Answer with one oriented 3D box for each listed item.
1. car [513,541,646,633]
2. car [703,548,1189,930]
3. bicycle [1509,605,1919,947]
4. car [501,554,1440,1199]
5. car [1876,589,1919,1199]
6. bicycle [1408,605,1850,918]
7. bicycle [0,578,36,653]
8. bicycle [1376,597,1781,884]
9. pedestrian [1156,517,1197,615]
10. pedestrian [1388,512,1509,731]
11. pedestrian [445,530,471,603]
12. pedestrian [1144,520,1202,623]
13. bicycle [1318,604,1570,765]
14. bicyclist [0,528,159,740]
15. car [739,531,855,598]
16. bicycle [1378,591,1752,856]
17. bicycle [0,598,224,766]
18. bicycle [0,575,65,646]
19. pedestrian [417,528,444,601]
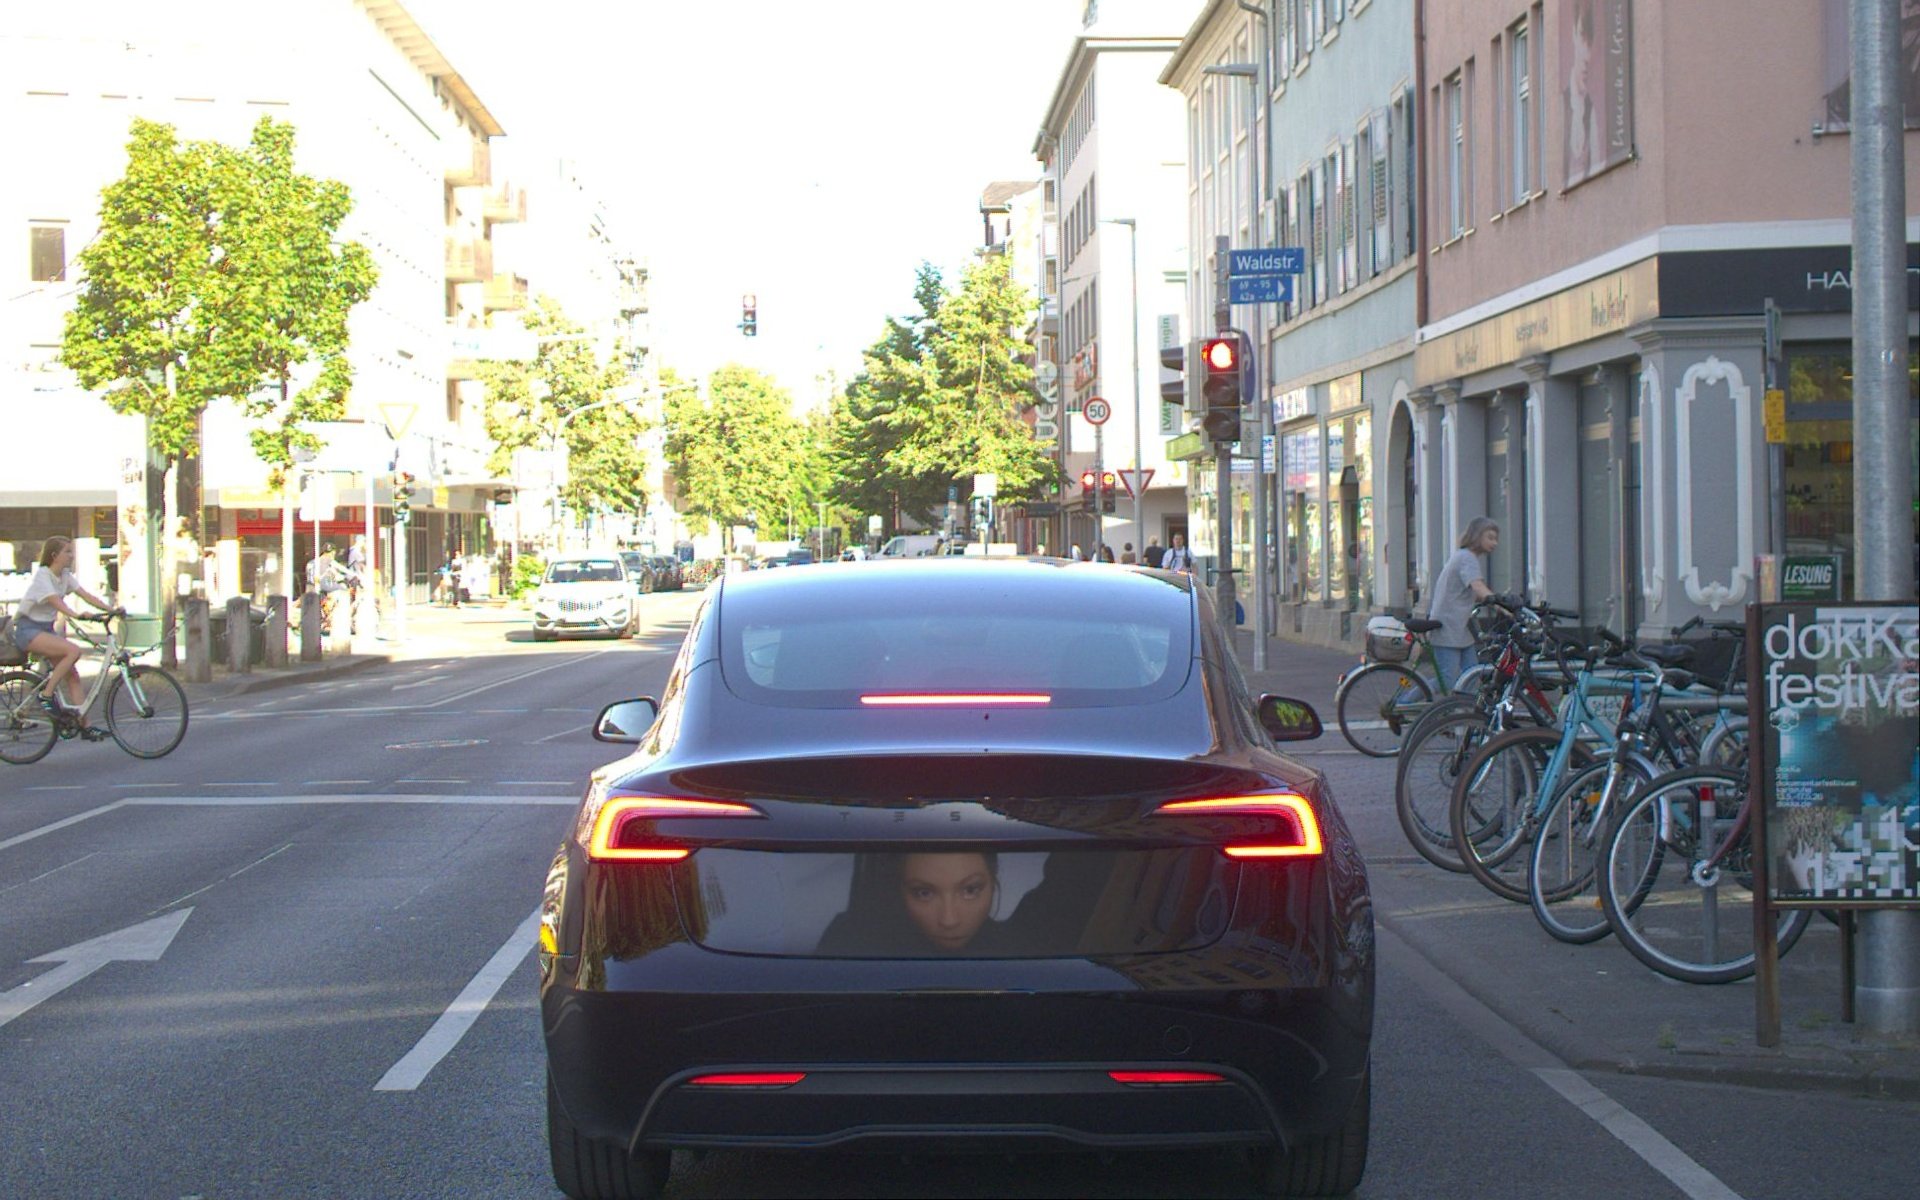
[{"bbox_3d":[-7.080,-0.268,64.291,1.993,1.535,4.000,-4,1,-1],"label":"car"},{"bbox_3d":[-0.047,0.502,15.005,1.850,1.450,3.786,0,1,0],"label":"car"},{"bbox_3d":[2.857,0.625,12.451,1.627,1.156,0.433,-2,1,-1],"label":"bicycle"},{"bbox_3d":[0.027,0.618,8.672,1.850,1.450,3.786,0,1,0],"label":"car"},{"bbox_3d":[2.611,0.707,4.833,1.622,1.389,3.886,0,1,0],"label":"car"},{"bbox_3d":[2.638,0.629,13.621,1.627,1.156,0.433,-2,1,-1],"label":"bicycle"},{"bbox_3d":[-14.911,0.231,51.196,2.082,1.100,0.806,0,1,-1],"label":"bicycle"},{"bbox_3d":[2.656,0.597,14.822,1.627,1.156,0.433,-2,1,-1],"label":"bicycle"},{"bbox_3d":[3.924,-0.618,62.336,0.704,1.777,0.533,0,1,-1],"label":"pedestrian"},{"bbox_3d":[3.255,0.140,22.966,0.743,1.435,0.582,1,0,4],"label":"pedestrian"},{"bbox_3d":[-13.814,-0.933,94.631,0.626,2.007,0.575,0,1,-1],"label":"pedestrian"},{"bbox_3d":[3.842,-0.520,62.188,0.999,1.844,0.615,0,1,-1],"label":"pedestrian"},{"bbox_3d":[3.220,0.557,22.970,1.615,1.041,0.591,1,0,4],"label":"bicycle"},{"bbox_3d":[-6.743,0.247,26.143,1.098,1.583,0.628,0,1,16],"label":"bicyclist"},{"bbox_3d":[-4.371,-0.967,91.513,2.049,1.721,4.655,0,1,-16],"label":"car"},{"bbox_3d":[2.798,0.566,15.970,1.628,1.156,0.433,-2,1,1],"label":"bicycle"},{"bbox_3d":[-6.727,0.634,26.135,2.127,1.196,0.628,-2,0,16],"label":"bicycle"},{"bbox_3d":[-15.048,0.158,53.390,2.082,1.100,0.806,0,1,-1],"label":"bicycle"},{"bbox_3d":[-14.570,-0.984,94.643,0.626,2.007,0.707,0,1,-1],"label":"pedestrian"}]
